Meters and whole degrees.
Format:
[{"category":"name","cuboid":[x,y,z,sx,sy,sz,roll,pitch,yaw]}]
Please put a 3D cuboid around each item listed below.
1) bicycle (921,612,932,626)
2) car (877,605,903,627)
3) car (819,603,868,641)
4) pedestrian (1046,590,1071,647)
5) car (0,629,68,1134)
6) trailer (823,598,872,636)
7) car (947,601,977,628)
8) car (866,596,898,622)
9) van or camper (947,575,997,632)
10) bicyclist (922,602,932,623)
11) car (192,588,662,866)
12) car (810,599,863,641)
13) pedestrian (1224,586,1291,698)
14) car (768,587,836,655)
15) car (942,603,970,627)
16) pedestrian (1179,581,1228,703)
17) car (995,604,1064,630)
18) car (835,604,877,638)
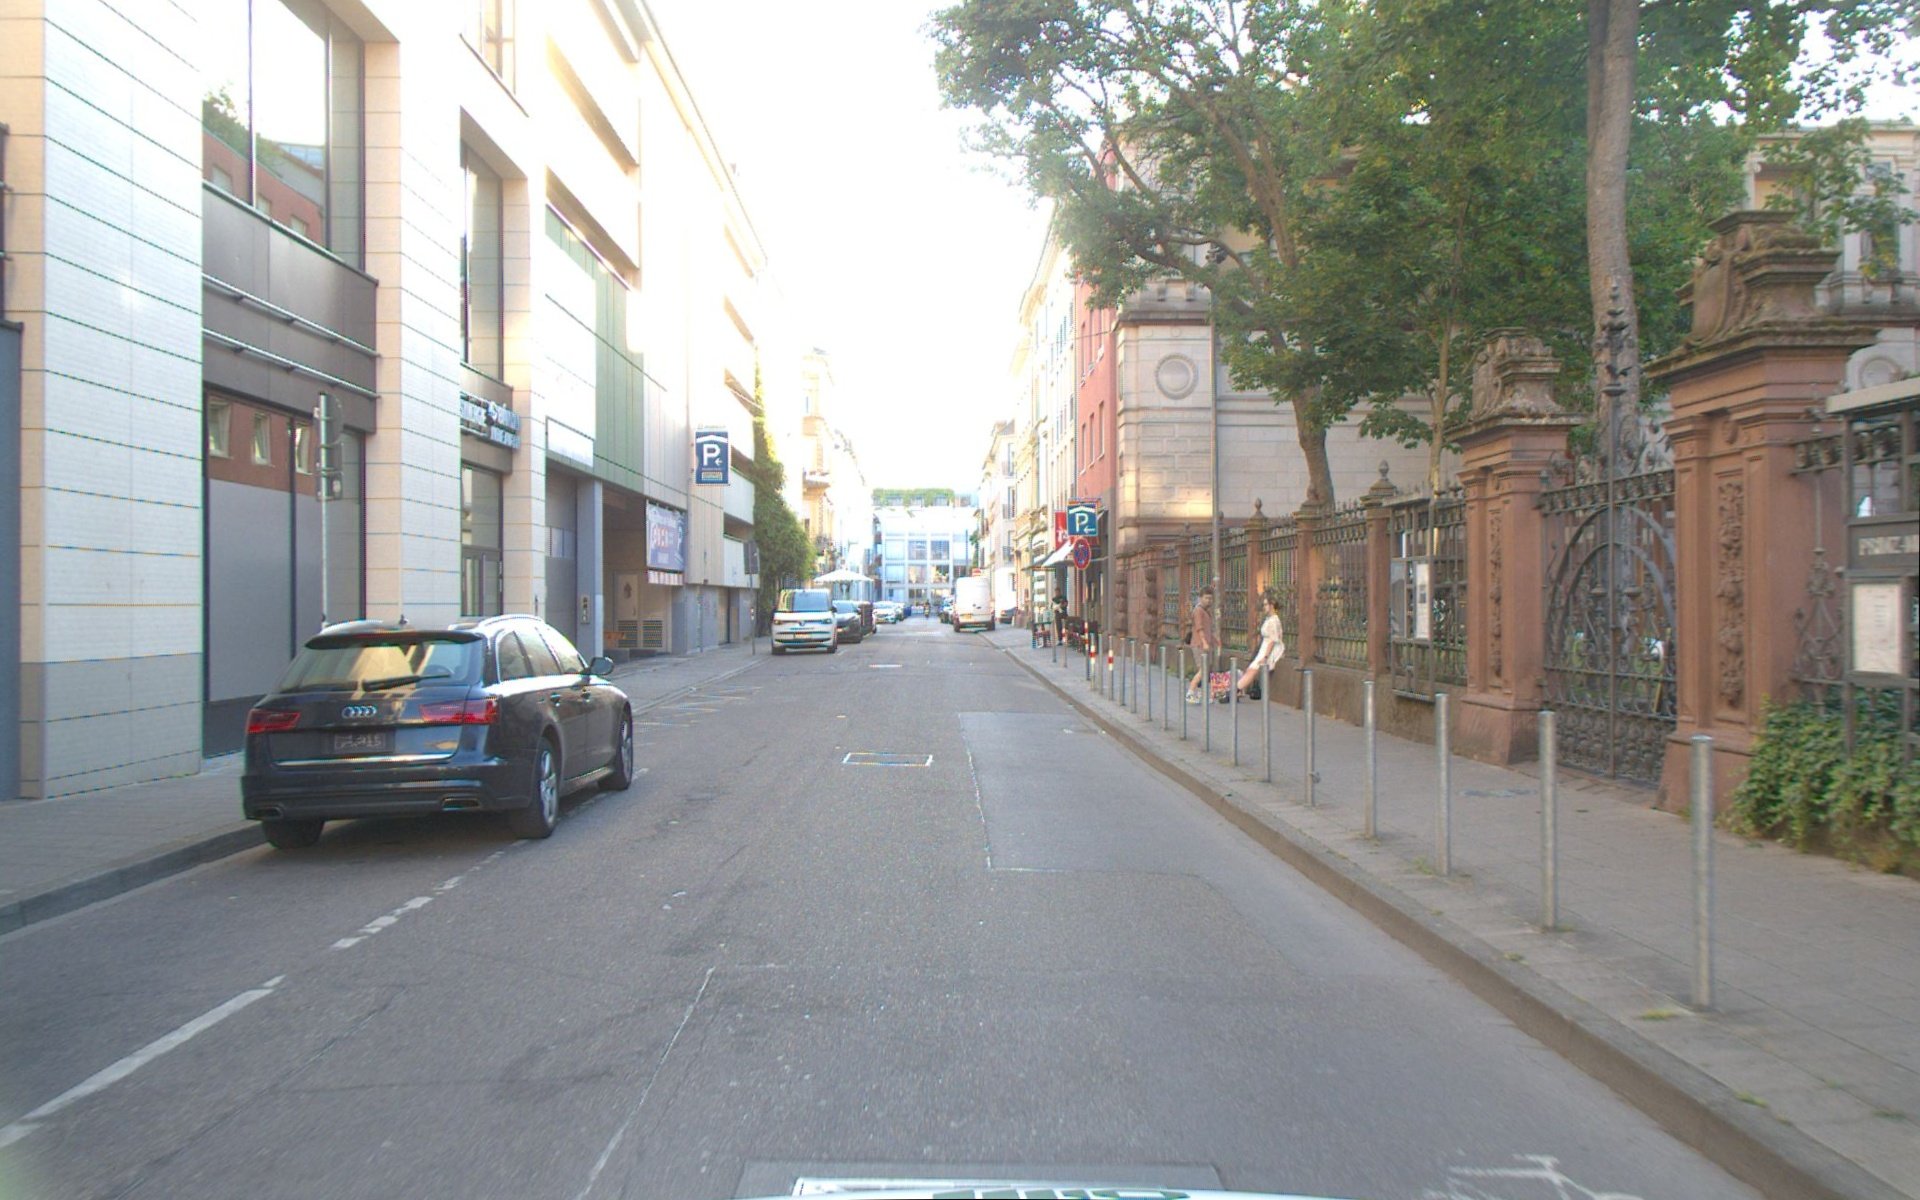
[{"category":"bicycle","cuboid":[-3.125,1.824,155.226,0.955,1.303,2.753,0,-1,-1]},{"category":"car","cuboid":[-5.617,1.277,132.362,1.953,1.713,3.999,0,-1,-1]},{"category":"car","cuboid":[-4.649,0.850,66.487,1.846,1.478,3.998,0,0,-3]},{"category":"pedestrian","cuboid":[3.022,0.565,50.769,0.648,1.695,0.624,-2,0,-1]},{"category":"car","cuboid":[-3.615,0.829,3.101,1.742,1.478,4.228,0,0,-3]},{"category":"trailer","cuboid":[-4.786,0.740,70.836,1.953,1.584,3.998,0,-1,-2]},{"category":"car","cuboid":[0.112,0.950,108.468,1.953,1.713,3.999,0,-1,-1]},{"category":"car","cuboid":[-5.151,0.621,109.748,1.953,1.713,3.999,0,-1,-1]},{"category":"van or camper","cuboid":[0.575,0.211,83.915,2.212,2.652,5.110,-4,-1,-1]},{"category":"bicyclist","cuboid":[-3.116,1.161,155.129,0.970,1.901,0.708,0,-1,-1]},{"category":"car","cuboid":[-3.549,0.749,12.044,1.844,1.626,4.689,0,0,1]},{"category":"car","cuboid":[-4.565,0.725,61.558,1.846,1.478,3.998,0,0,-3]},{"category":"pedestrian","cuboid":[4.171,0.579,23.235,0.735,1.526,0.618,-2,0,-7]},{"category":"car","cuboid":[-4.759,0.612,50.359,1.846,1.945,4.745,0,0,-3]},{"category":"car","cuboid":[-0.328,1.117,120.301,1.953,1.713,3.999,0,-1,-1]},{"category":"pedestrian","cuboid":[3.437,0.580,23.359,0.475,1.687,0.617,-2,0,-8]},{"category":"car","cuboid":[3.955,0.992,94.549,3.906,1.445,1.656,0,-1,-1]},{"category":"car","cuboid":[-4.708,0.930,75.345,1.846,1.478,3.998,0,0,-3]}]
